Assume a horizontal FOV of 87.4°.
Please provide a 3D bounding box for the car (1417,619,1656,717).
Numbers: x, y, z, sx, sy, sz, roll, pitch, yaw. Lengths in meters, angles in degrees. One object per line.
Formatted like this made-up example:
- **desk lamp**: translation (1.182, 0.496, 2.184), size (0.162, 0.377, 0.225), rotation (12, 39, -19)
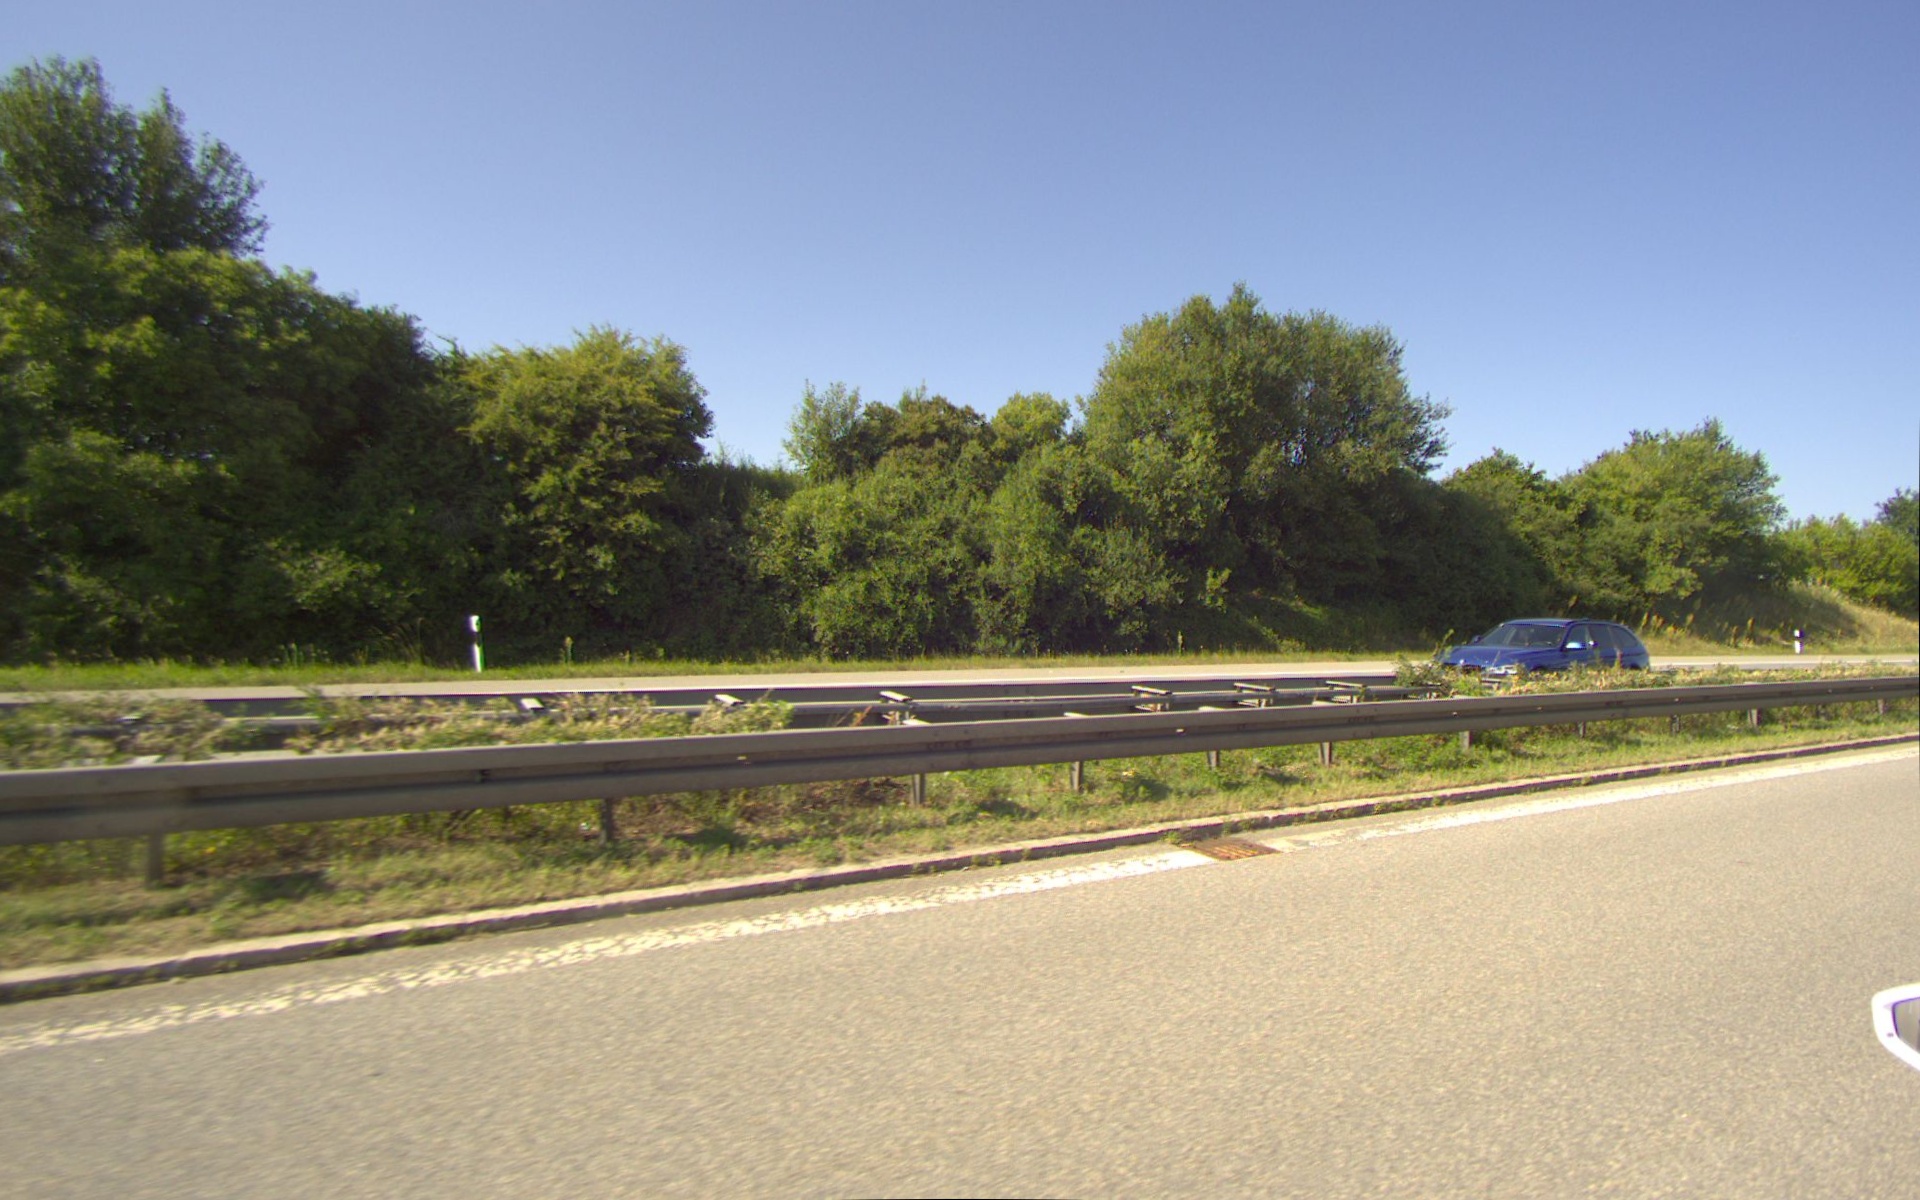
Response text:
- **car**: translation (10.013, 1.132, 17.376), size (4.180, 1.514, 1.759), rotation (2, -1, -30)

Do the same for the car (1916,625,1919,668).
- **car**: translation (38.213, 1.836, 37.957), size (4.736, 1.606, 1.759), rotation (2, 1, -30)
